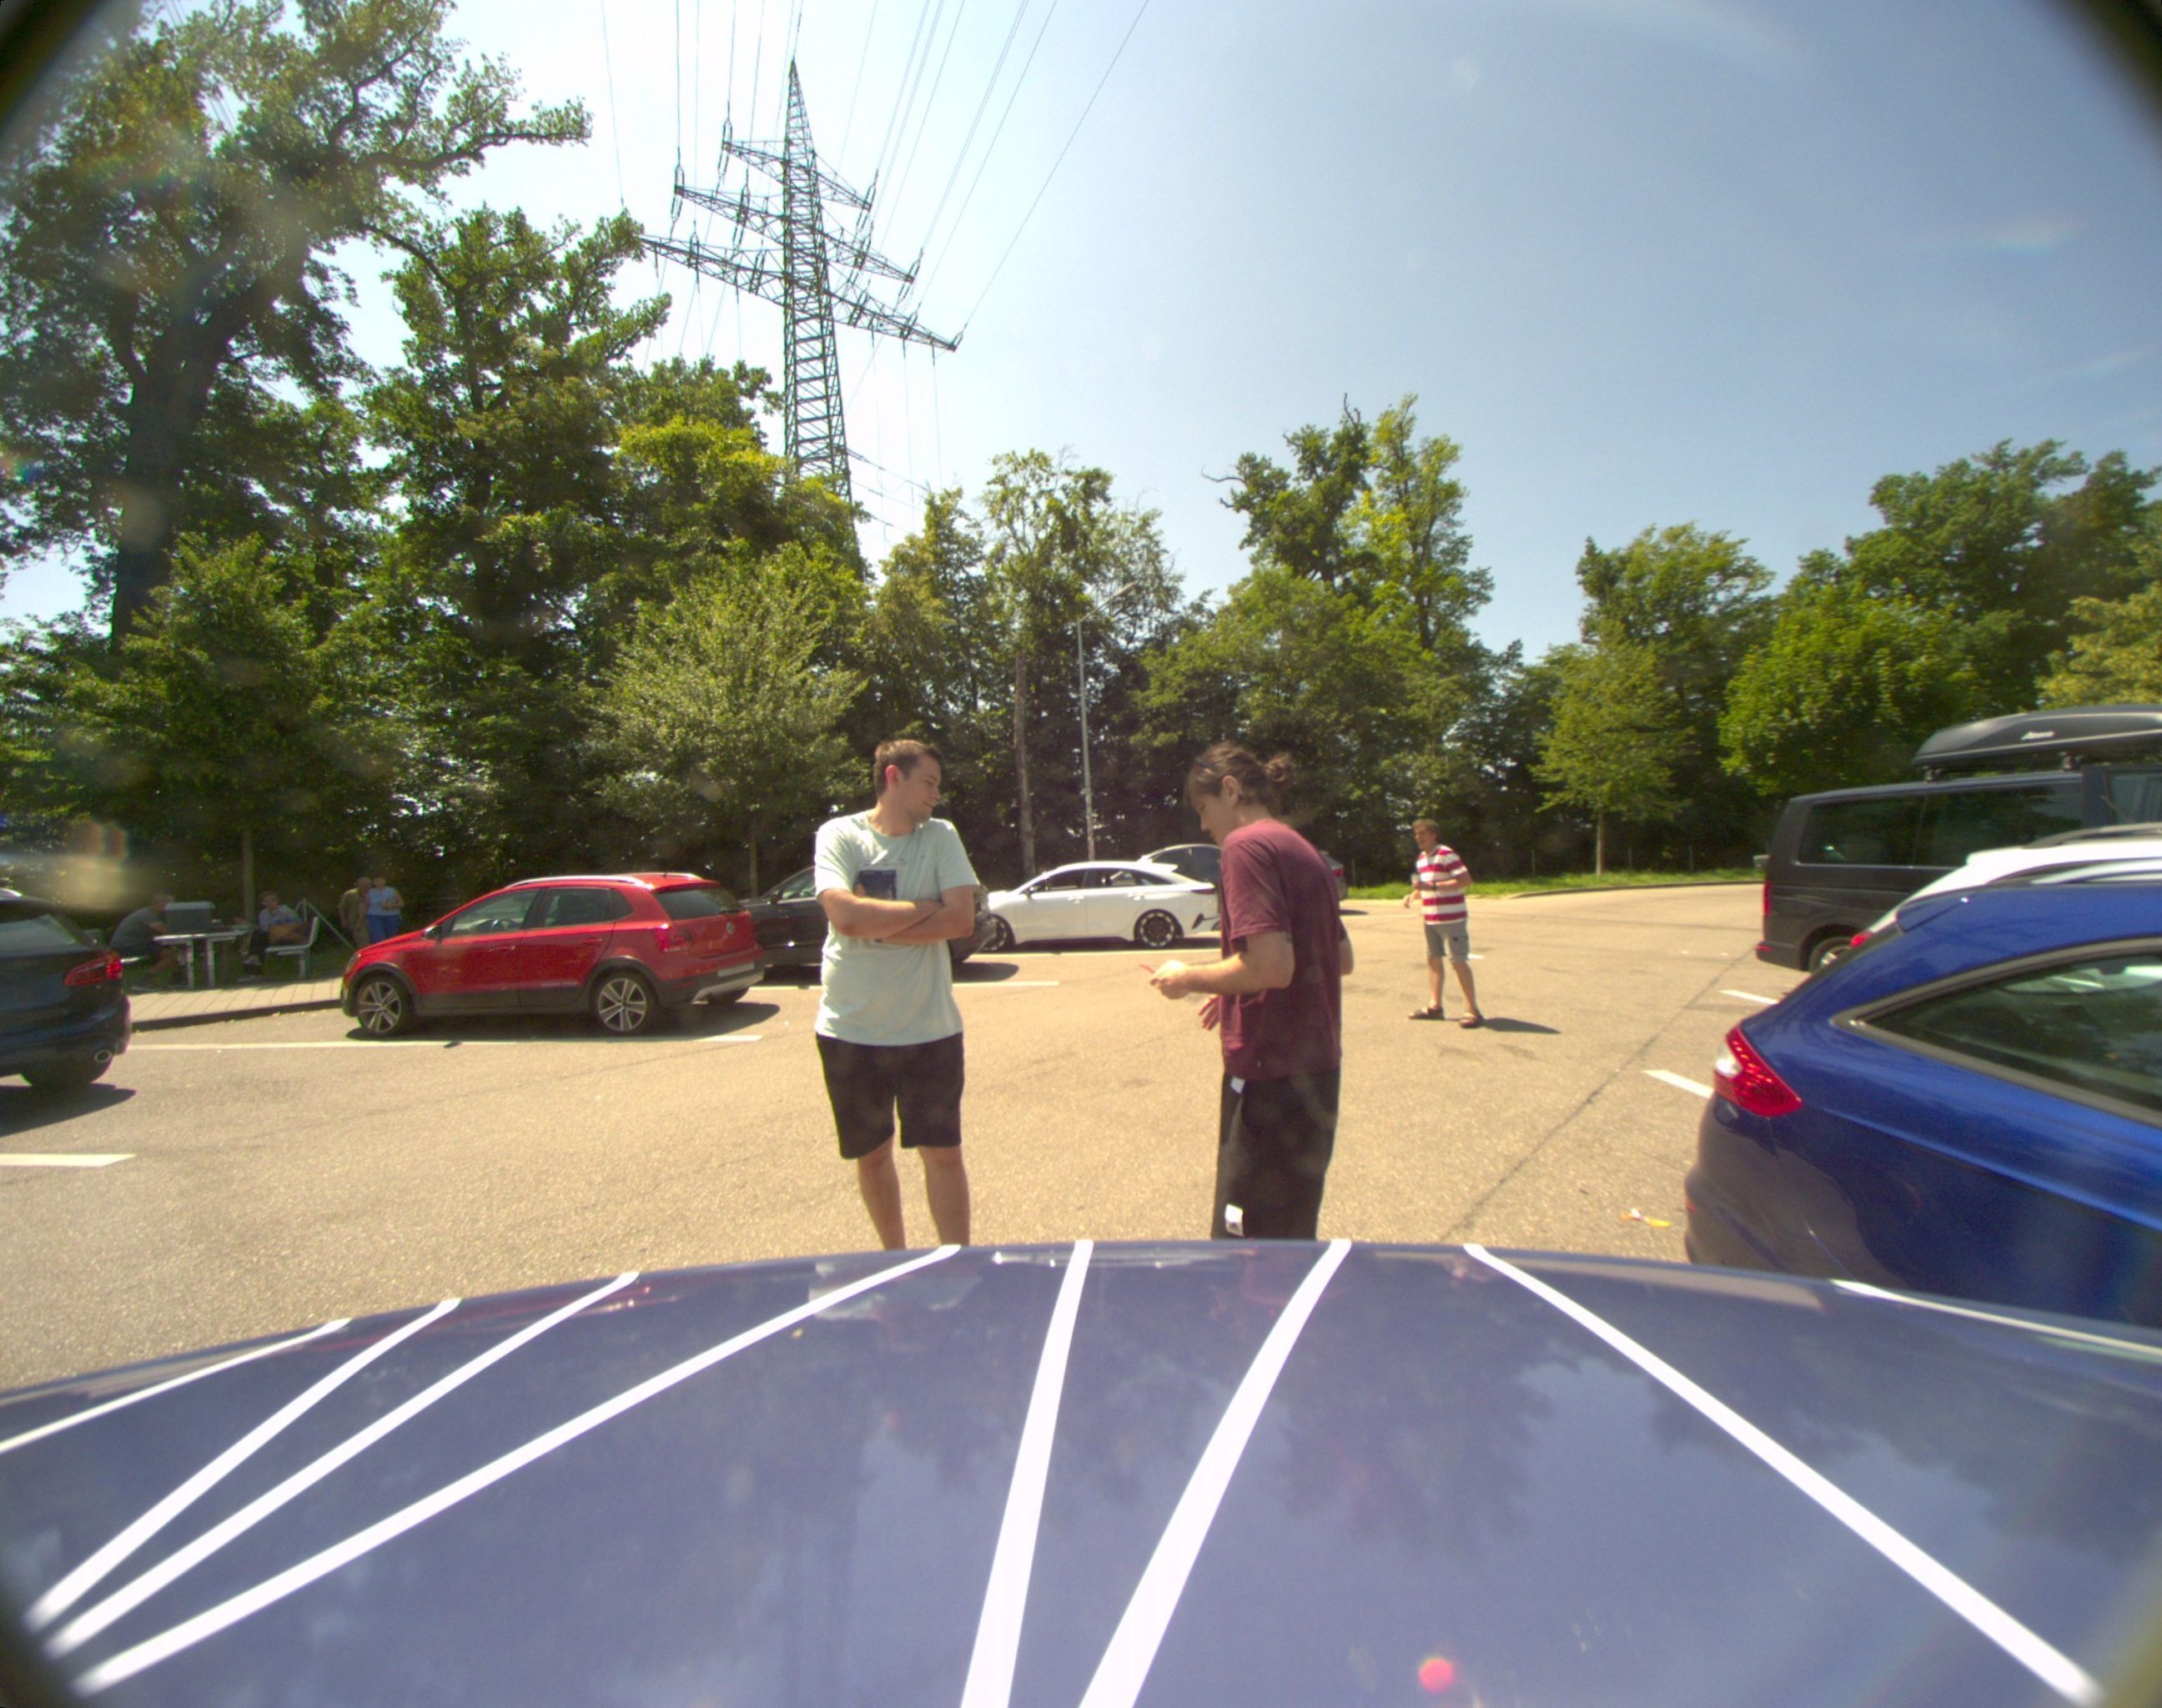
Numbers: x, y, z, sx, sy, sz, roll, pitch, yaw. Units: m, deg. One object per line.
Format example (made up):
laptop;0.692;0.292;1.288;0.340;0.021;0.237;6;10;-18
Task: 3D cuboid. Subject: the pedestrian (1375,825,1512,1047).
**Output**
pedestrian;3.020;0.651;6.405;0.784;1.744;0.755;-2;1;5

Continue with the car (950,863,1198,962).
car;-0.070;0.932;12.671;3.825;1.394;1.651;-2;1;4

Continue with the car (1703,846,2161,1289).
car;4.651;0.729;2.249;1.757;1.496;4.574;-3;-1;-1

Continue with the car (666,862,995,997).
car;-3.245;0.960;10.296;3.825;1.546;1.651;-2;1;4

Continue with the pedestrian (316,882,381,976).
pedestrian;-13.100;1.317;13.590;0.571;1.596;0.648;-1;1;32

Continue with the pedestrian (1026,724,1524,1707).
pedestrian;0.473;0.715;1.926;0.919;1.894;0.815;-2;1;16

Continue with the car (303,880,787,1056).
car;-5.226;1.088;7.667;3.823;1.460;1.651;-2;1;8

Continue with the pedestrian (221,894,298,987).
pedestrian;-11.856;1.227;10.982;0.595;1.238;0.499;-3;1;-33

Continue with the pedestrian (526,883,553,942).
pedestrian;-11.004;1.184;15.435;0.357;1.158;0.384;-3;2;-41

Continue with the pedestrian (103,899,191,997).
pedestrian;-12.723;1.267;10.369;0.595;1.238;0.446;-3;1;-33

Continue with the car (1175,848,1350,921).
car;4.271;0.707;18.148;3.822;1.551;1.652;-2;1;12

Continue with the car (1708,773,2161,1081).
car;7.379;0.415;5.280;1.758;1.886;4.571;-3;-1;-9

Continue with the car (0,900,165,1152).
car;-9.027;1.170;5.001;4.338;1.544;1.749;-1;1;8

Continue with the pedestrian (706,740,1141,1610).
pedestrian;-0.470;0.715;2.285;0.918;1.939;0.815;-1;2;42

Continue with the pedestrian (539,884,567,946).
pedestrian;-10.159;1.161;14.620;0.357;1.158;0.384;-3;2;-41

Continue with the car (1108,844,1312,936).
car;2.612;0.710;15.453;3.822;1.686;1.652;-2;1;12

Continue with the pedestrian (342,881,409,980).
pedestrian;-12.077;1.284;13.010;0.571;1.596;0.648;-1;1;32
